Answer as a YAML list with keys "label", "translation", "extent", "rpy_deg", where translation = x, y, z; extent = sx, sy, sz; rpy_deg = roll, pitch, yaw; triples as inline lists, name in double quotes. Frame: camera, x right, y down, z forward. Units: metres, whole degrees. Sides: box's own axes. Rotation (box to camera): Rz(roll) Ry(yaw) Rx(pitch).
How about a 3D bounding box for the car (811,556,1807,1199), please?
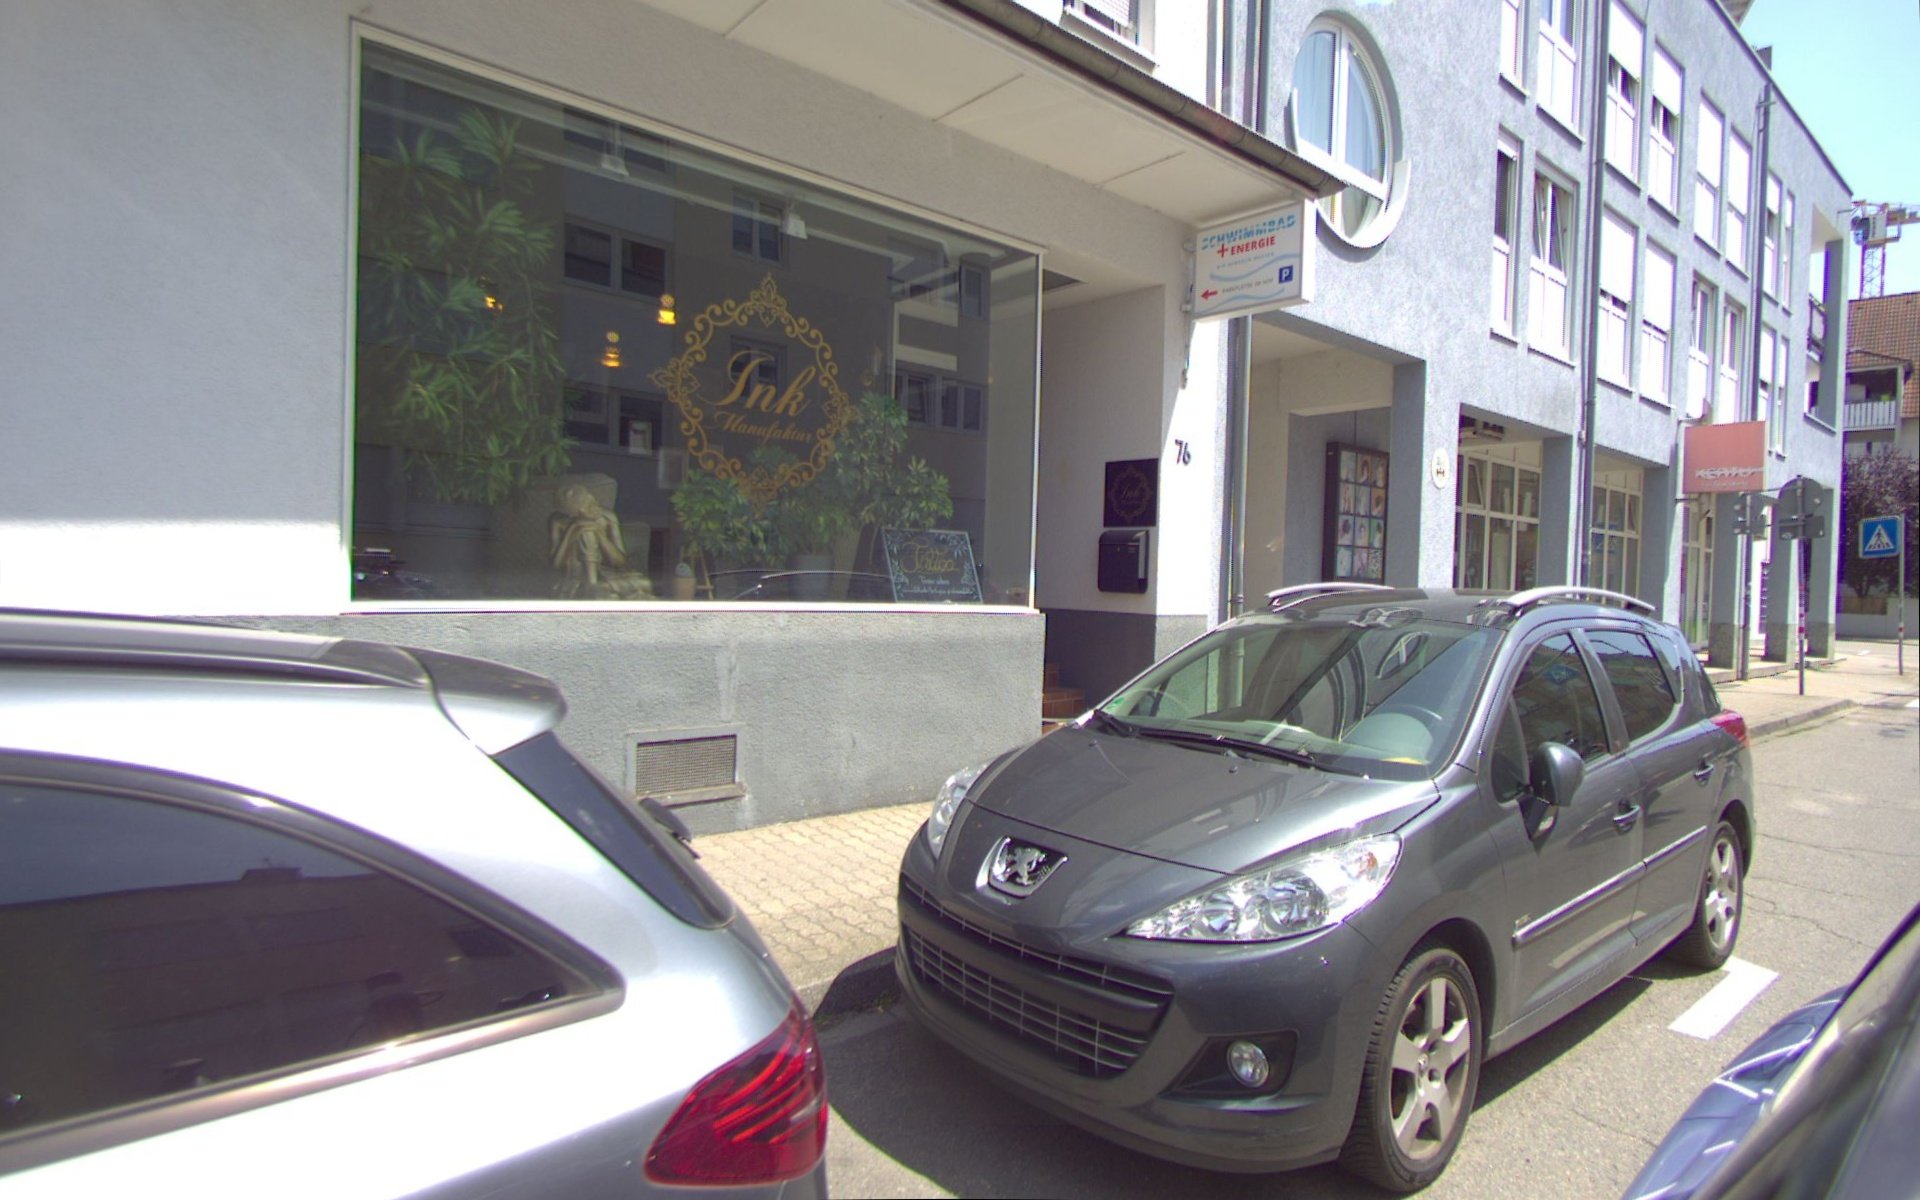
- label: "car"
  translation: [1.591, 0.659, 3.843]
  extent: [3.927, 1.526, 1.714]
  rpy_deg: [0, 2, -39]

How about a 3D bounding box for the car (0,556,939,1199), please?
- label: "car"
  translation: [-2.283, 0.666, 0.462]
  extent: [4.465, 1.437, 1.732]
  rpy_deg: [0, 2, -41]
